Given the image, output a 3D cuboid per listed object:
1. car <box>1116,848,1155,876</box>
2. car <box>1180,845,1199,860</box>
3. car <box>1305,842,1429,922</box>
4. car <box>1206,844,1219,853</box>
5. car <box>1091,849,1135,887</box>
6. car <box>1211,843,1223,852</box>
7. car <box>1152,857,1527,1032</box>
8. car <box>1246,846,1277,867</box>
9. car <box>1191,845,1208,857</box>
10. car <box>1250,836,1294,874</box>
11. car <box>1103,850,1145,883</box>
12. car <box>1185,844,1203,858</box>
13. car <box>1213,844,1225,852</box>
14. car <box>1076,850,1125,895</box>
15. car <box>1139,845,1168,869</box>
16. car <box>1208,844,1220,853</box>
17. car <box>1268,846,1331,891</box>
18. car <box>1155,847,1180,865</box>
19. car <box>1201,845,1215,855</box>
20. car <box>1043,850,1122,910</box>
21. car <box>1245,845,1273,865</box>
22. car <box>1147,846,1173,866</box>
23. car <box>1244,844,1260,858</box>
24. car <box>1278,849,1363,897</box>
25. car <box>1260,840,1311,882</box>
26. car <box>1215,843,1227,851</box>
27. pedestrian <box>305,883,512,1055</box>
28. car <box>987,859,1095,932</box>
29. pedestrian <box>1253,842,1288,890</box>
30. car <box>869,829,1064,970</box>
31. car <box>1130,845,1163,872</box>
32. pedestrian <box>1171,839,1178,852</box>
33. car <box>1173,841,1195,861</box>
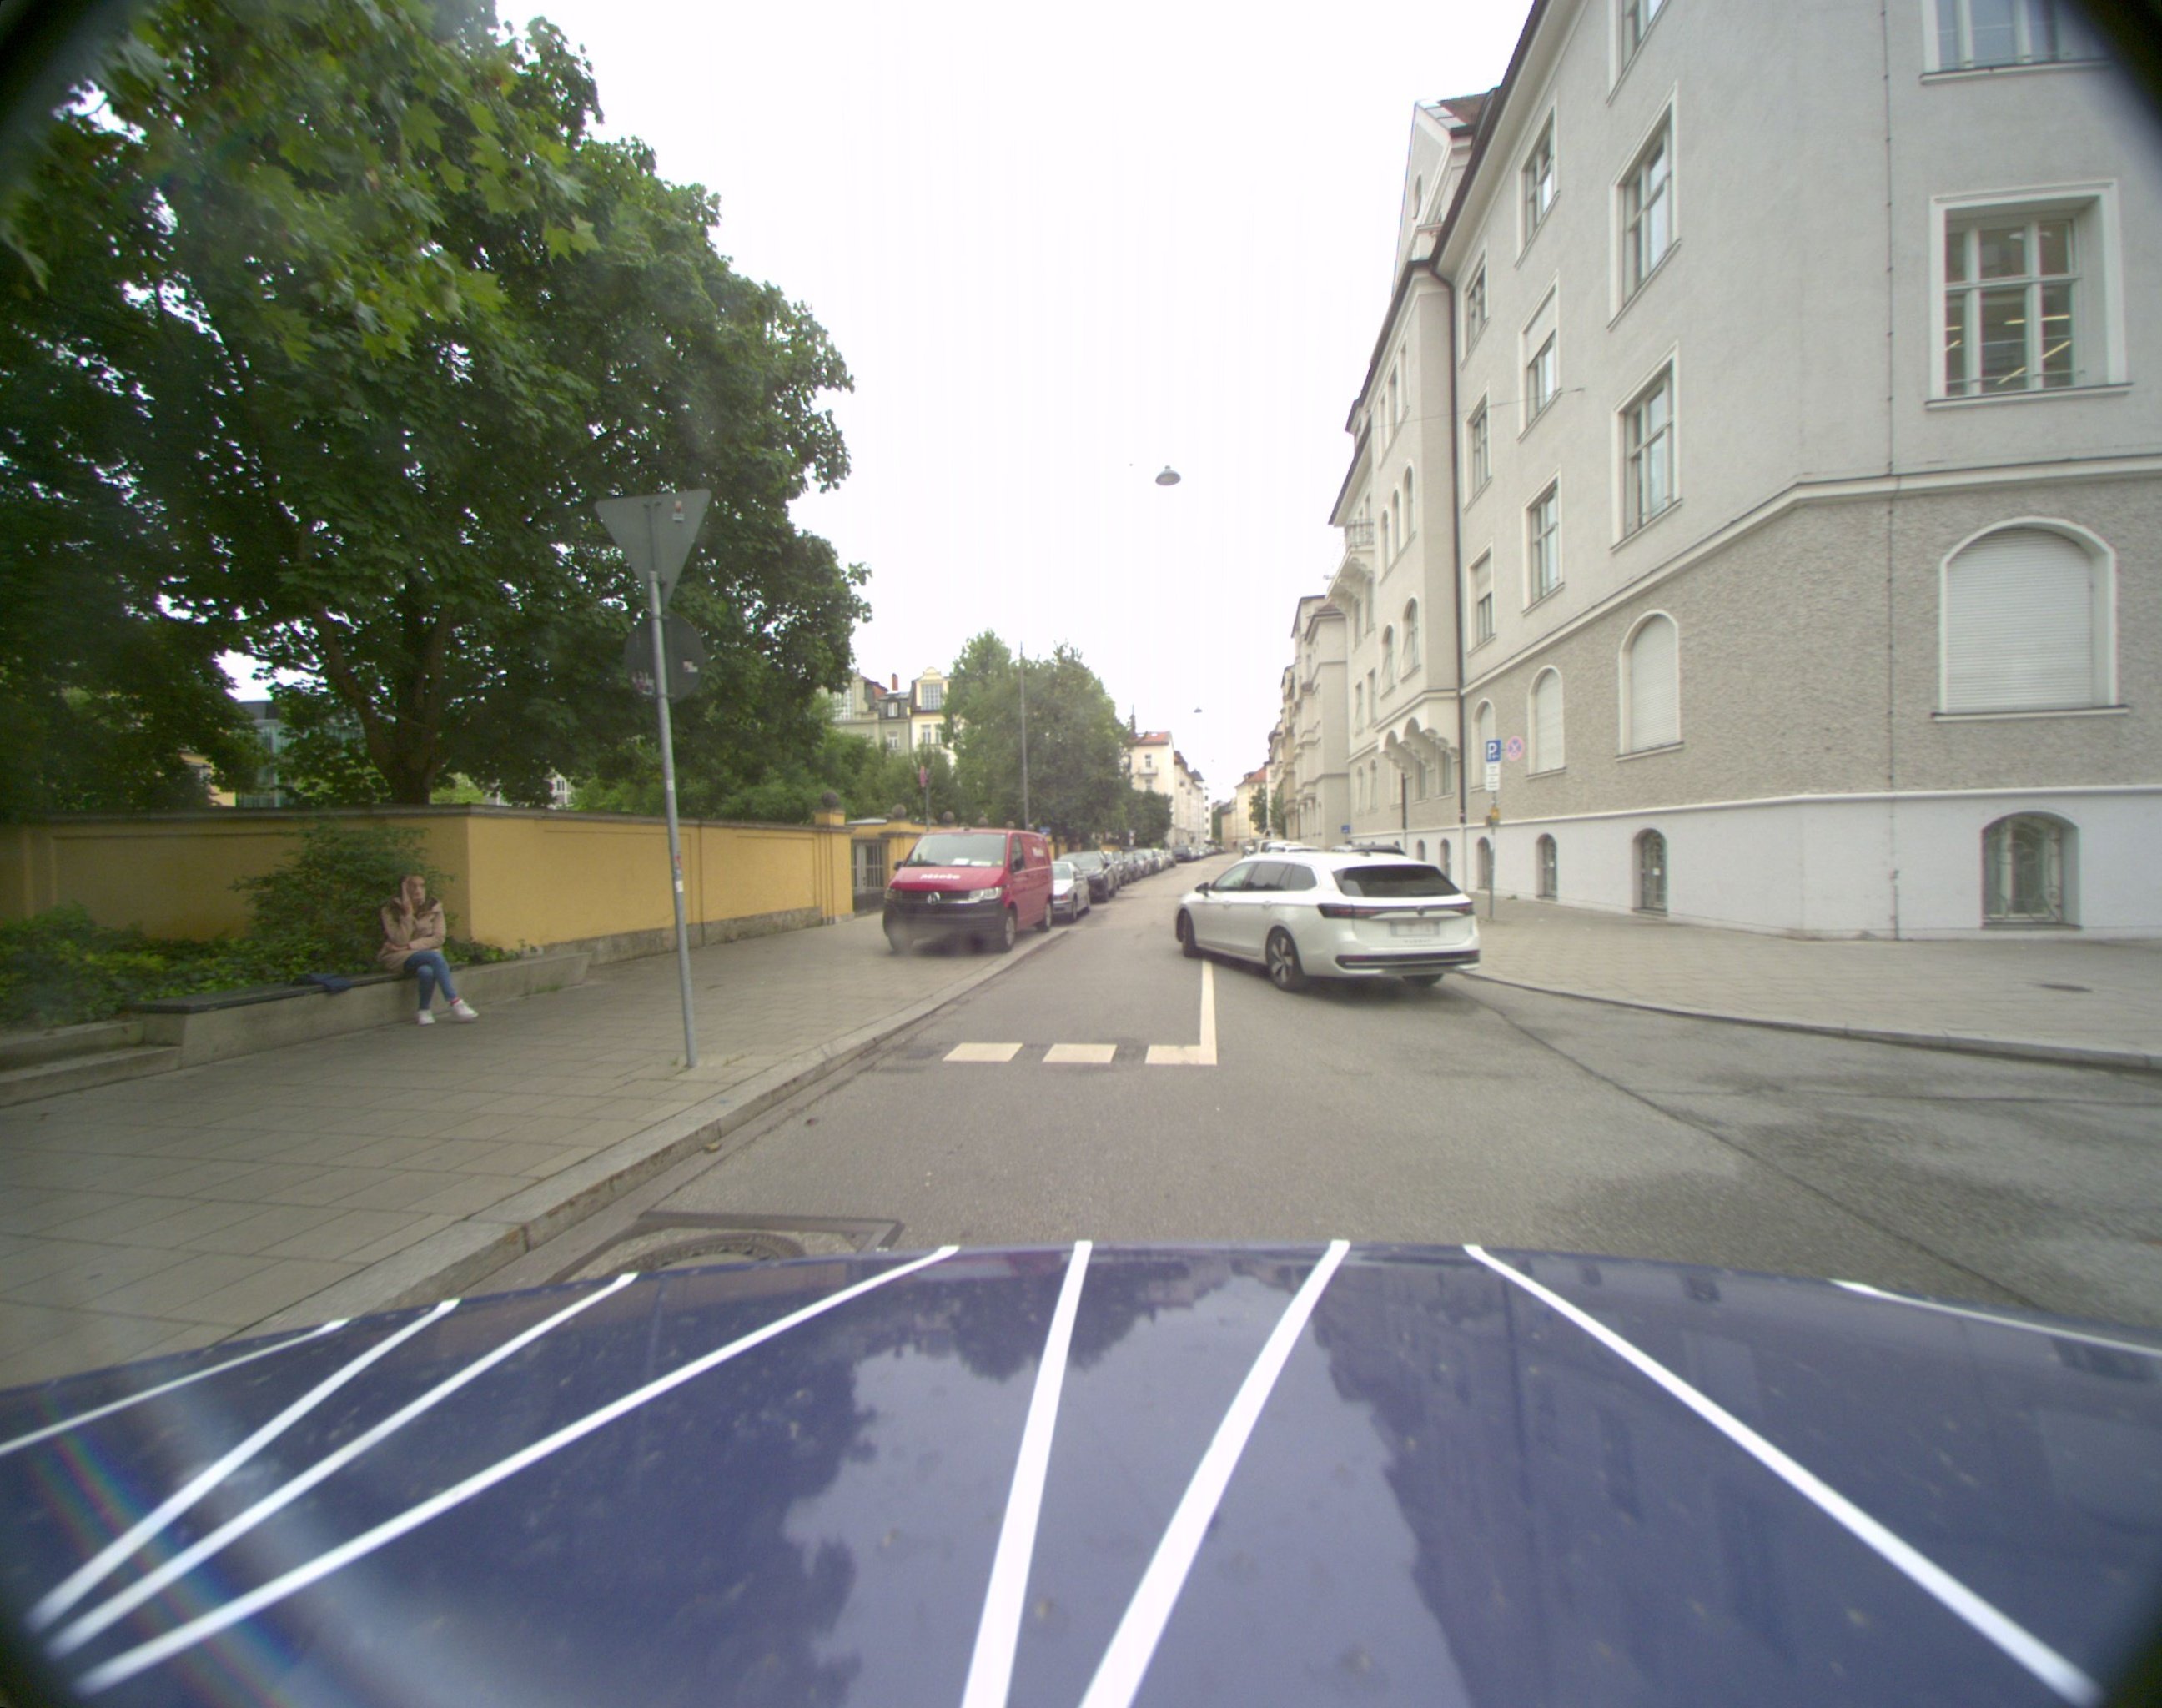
[{"bbox_3d":[3.130,0.405,42.835,1.695,1.406,4.519,-1,1,10],"label":"car"},{"bbox_3d":[12.932,-0.205,90.690,1.997,1.643,4.451,-5,0,10],"label":"car"},{"bbox_3d":[6.358,0.520,17.409,1.750,1.593,4.499,0,1,8],"label":"car"},{"bbox_3d":[24.580,-0.982,142.190,1.997,1.585,4.303,-5,0,13],"label":"car"},{"bbox_3d":[1.477,0.598,33.995,1.510,1.557,2.871,-3,0,11],"label":"car"},{"bbox_3d":[28.078,-1.268,156.520,1.997,1.672,4.303,-5,0,15],"label":"car"},{"bbox_3d":[2.632,0.802,9.246,1.891,1.440,4.884,-2,1,-15],"label":"car"},{"bbox_3d":[12.922,0.121,54.489,1.859,1.404,4.382,1,1,10],"label":"car"},{"bbox_3d":[16.786,-0.427,107.438,1.997,1.585,4.303,-5,0,13],"label":"car"},{"bbox_3d":[10.286,0.040,41.204,1.859,1.927,4.960,0,1,9],"label":"car"},{"bbox_3d":[2.200,0.582,37.933,1.695,1.406,4.038,-3,0,8],"label":"car"},{"bbox_3d":[14.200,-0.354,95.493,1.997,1.585,4.302,-5,0,10],"label":"car"},{"bbox_3d":[29.408,-1.350,161.798,1.997,1.585,4.432,-5,0,15],"label":"car"},{"bbox_3d":[0.832,0.674,29.609,1.487,1.530,3.694,-3,0,7],"label":"car"},{"bbox_3d":[5.209,0.197,53.973,1.716,1.561,4.322,-1,1,10],"label":"car"},{"bbox_3d":[26.585,-1.148,151.583,1.997,1.585,4.303,-5,0,13],"label":"car"},{"bbox_3d":[8.349,0.488,29.397,1.750,1.593,4.499,0,1,8],"label":"car"},{"bbox_3d":[7.233,0.130,63.244,1.716,1.445,4.958,-1,1,10],"label":"car"},{"bbox_3d":[22.070,-0.762,131.748,1.997,1.585,4.303,-5,0,13],"label":"car"},{"bbox_3d":[0.173,0.747,24.767,1.888,1.643,4.826,-3,0,8],"label":"car"},{"bbox_3d":[13.870,0.040,59.461,1.859,1.455,4.382,0,1,10],"label":"car"},{"bbox_3d":[6.120,0.163,58.617,1.716,1.445,4.186,-1,1,10],"label":"car"},{"bbox_3d":[18.011,-0.316,79.919,1.625,1.421,3.944,0,1,13],"label":"car"},{"bbox_3d":[7.699,0.574,24.755,1.696,1.406,3.663,0,1,2],"label":"car"},{"bbox_3d":[9.362,0.263,35.111,1.750,1.778,5.039,0,1,9],"label":"car"},{"bbox_3d":[30.756,-1.570,166.495,1.996,1.585,4.304,-5,0,17],"label":"car"},{"bbox_3d":[-5.808,0.950,6.613,1.011,1.330,0.877,-1,1,13],"label":"pedestrian"},{"bbox_3d":[-0.838,0.929,18.753,1.888,1.440,4.370,-3,0,7],"label":"car"},{"bbox_3d":[7.131,0.443,28.551,0.874,1.745,0.966,-1,1,41],"label":"pedestrian"},{"bbox_3d":[-1.674,0.620,13.068,1.877,1.909,4.890,-3,0,9],"label":"car"},{"bbox_3d":[4.264,0.256,48.764,1.716,1.561,4.694,-1,1,10],"label":"car"},{"bbox_3d":[12.939,-1.157,104.826,0.875,1.680,1.053,-1,1,11],"label":"pedestrian"},{"bbox_3d":[10.941,-0.287,80.690,1.997,1.949,4.436,-4,0,10],"label":"car"}]
